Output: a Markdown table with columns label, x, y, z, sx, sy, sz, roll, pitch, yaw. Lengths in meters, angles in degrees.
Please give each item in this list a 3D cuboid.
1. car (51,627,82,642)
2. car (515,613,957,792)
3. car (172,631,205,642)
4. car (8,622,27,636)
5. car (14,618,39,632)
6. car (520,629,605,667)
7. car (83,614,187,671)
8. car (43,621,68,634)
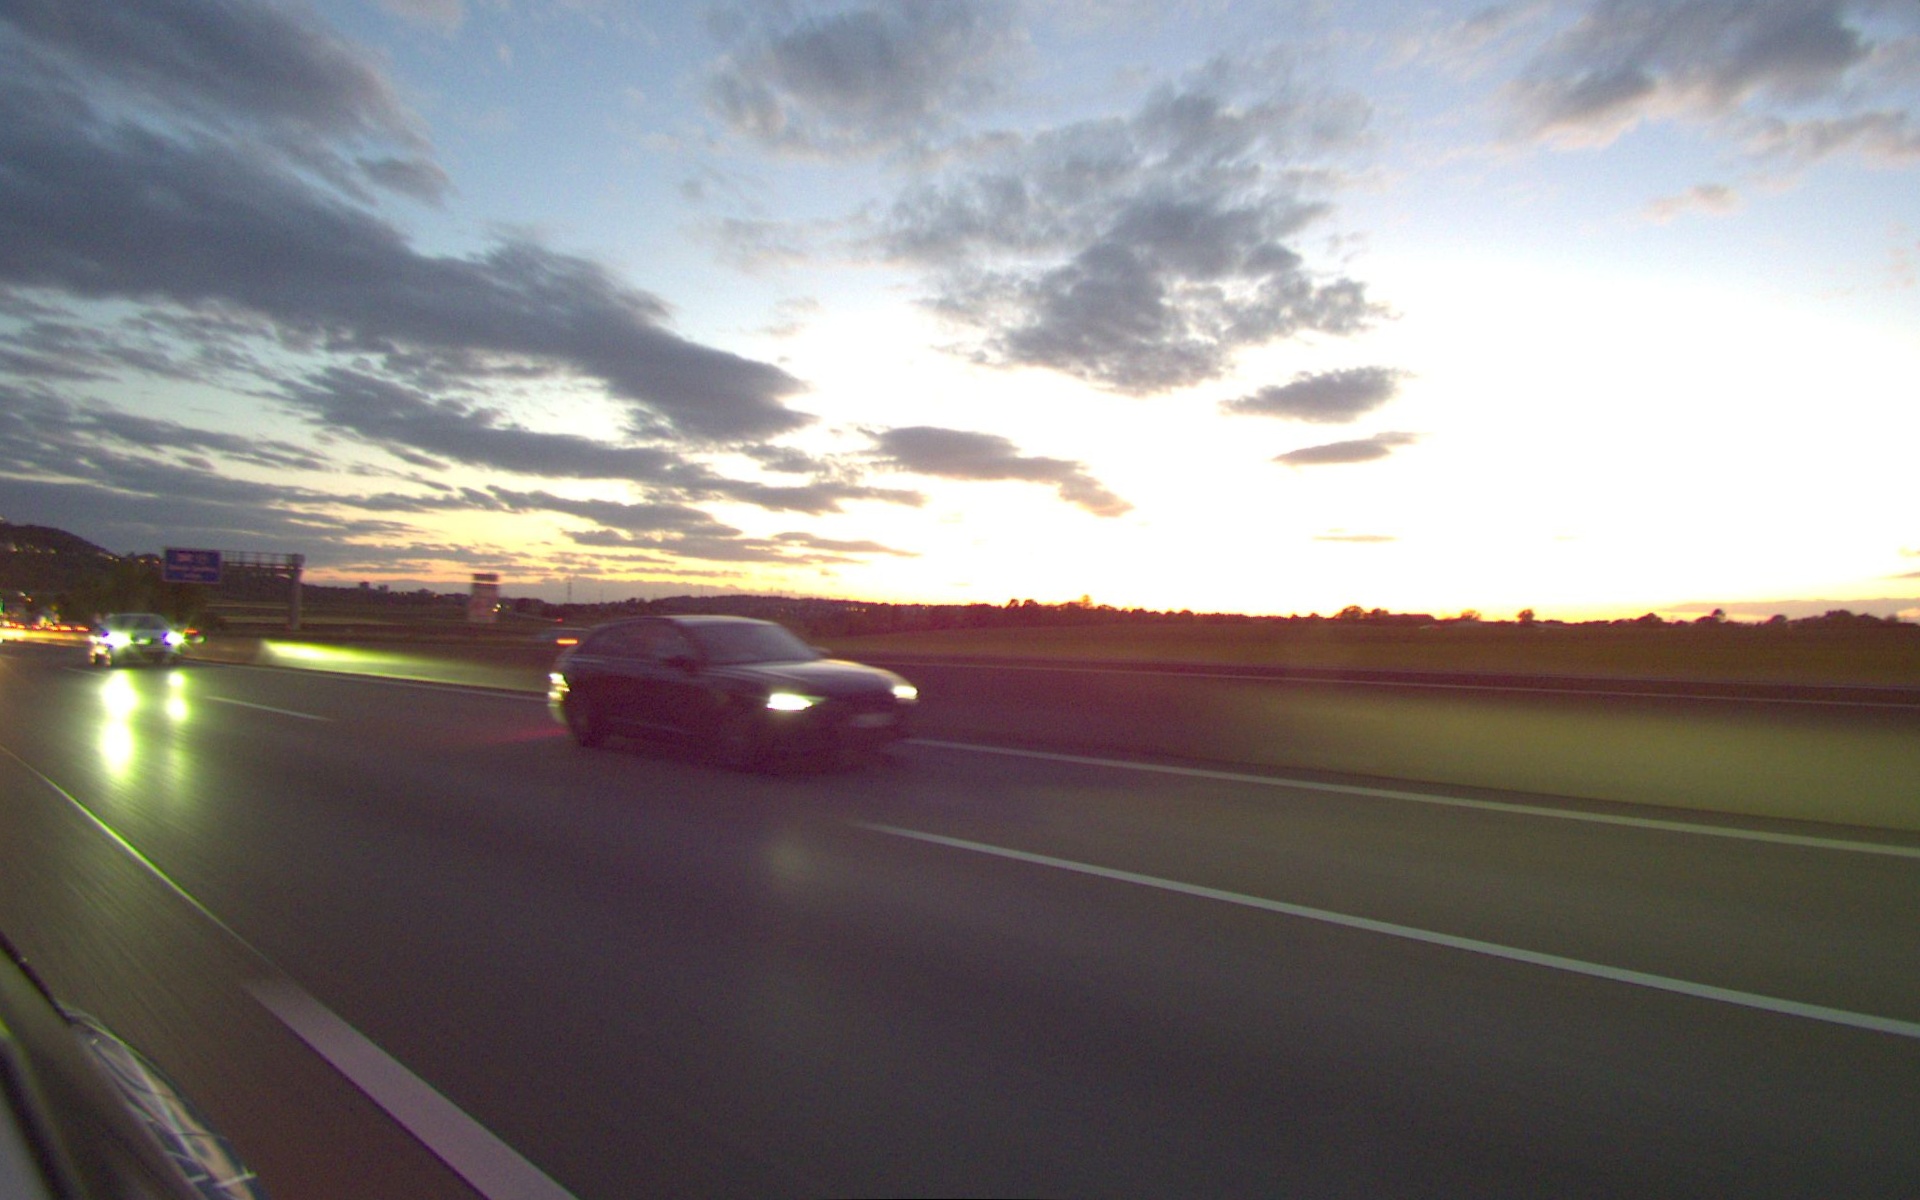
| label | x | y | z | sx | sy | sz | roll | pitch | yaw |
| --- | --- | --- | --- | --- | --- | --- | --- | --- | --- |
| car | -80.718 | 3.096 | 91.407 | 3.998 | 1.227 | 1.648 | -1 | 0 | 41 |
| car | -2.639 | 0.883 | 10.839 | 5.392 | 1.448 | 1.795 | -1 | 0 | 41 |
| car | -61.252 | 2.865 | 80.306 | 4.414 | 0.800 | 1.229 | -1 | 0 | 41 |
| car | -164.885 | 5.021 | 176.988 | 5.834 | 2.406 | 1.972 | -1 | 0 | 42 |
| car | -102.537 | 2.742 | 111.107 | 3.998 | 1.464 | 1.627 | -1 | 0 | 41 |
| car | -17.912 | 2.132 | 45.513 | 4.518 | 1.546 | 1.641 | -1 | 0 | 41 |
| car | -26.451 | 1.284 | 32.379 | 4.854 | 1.660 | 1.795 | -1 | 0 | 41 |
| car | -106.850 | 3.237 | 119.595 | 4.885 | 1.534 | 1.642 | -1 | 0 | 41 |
